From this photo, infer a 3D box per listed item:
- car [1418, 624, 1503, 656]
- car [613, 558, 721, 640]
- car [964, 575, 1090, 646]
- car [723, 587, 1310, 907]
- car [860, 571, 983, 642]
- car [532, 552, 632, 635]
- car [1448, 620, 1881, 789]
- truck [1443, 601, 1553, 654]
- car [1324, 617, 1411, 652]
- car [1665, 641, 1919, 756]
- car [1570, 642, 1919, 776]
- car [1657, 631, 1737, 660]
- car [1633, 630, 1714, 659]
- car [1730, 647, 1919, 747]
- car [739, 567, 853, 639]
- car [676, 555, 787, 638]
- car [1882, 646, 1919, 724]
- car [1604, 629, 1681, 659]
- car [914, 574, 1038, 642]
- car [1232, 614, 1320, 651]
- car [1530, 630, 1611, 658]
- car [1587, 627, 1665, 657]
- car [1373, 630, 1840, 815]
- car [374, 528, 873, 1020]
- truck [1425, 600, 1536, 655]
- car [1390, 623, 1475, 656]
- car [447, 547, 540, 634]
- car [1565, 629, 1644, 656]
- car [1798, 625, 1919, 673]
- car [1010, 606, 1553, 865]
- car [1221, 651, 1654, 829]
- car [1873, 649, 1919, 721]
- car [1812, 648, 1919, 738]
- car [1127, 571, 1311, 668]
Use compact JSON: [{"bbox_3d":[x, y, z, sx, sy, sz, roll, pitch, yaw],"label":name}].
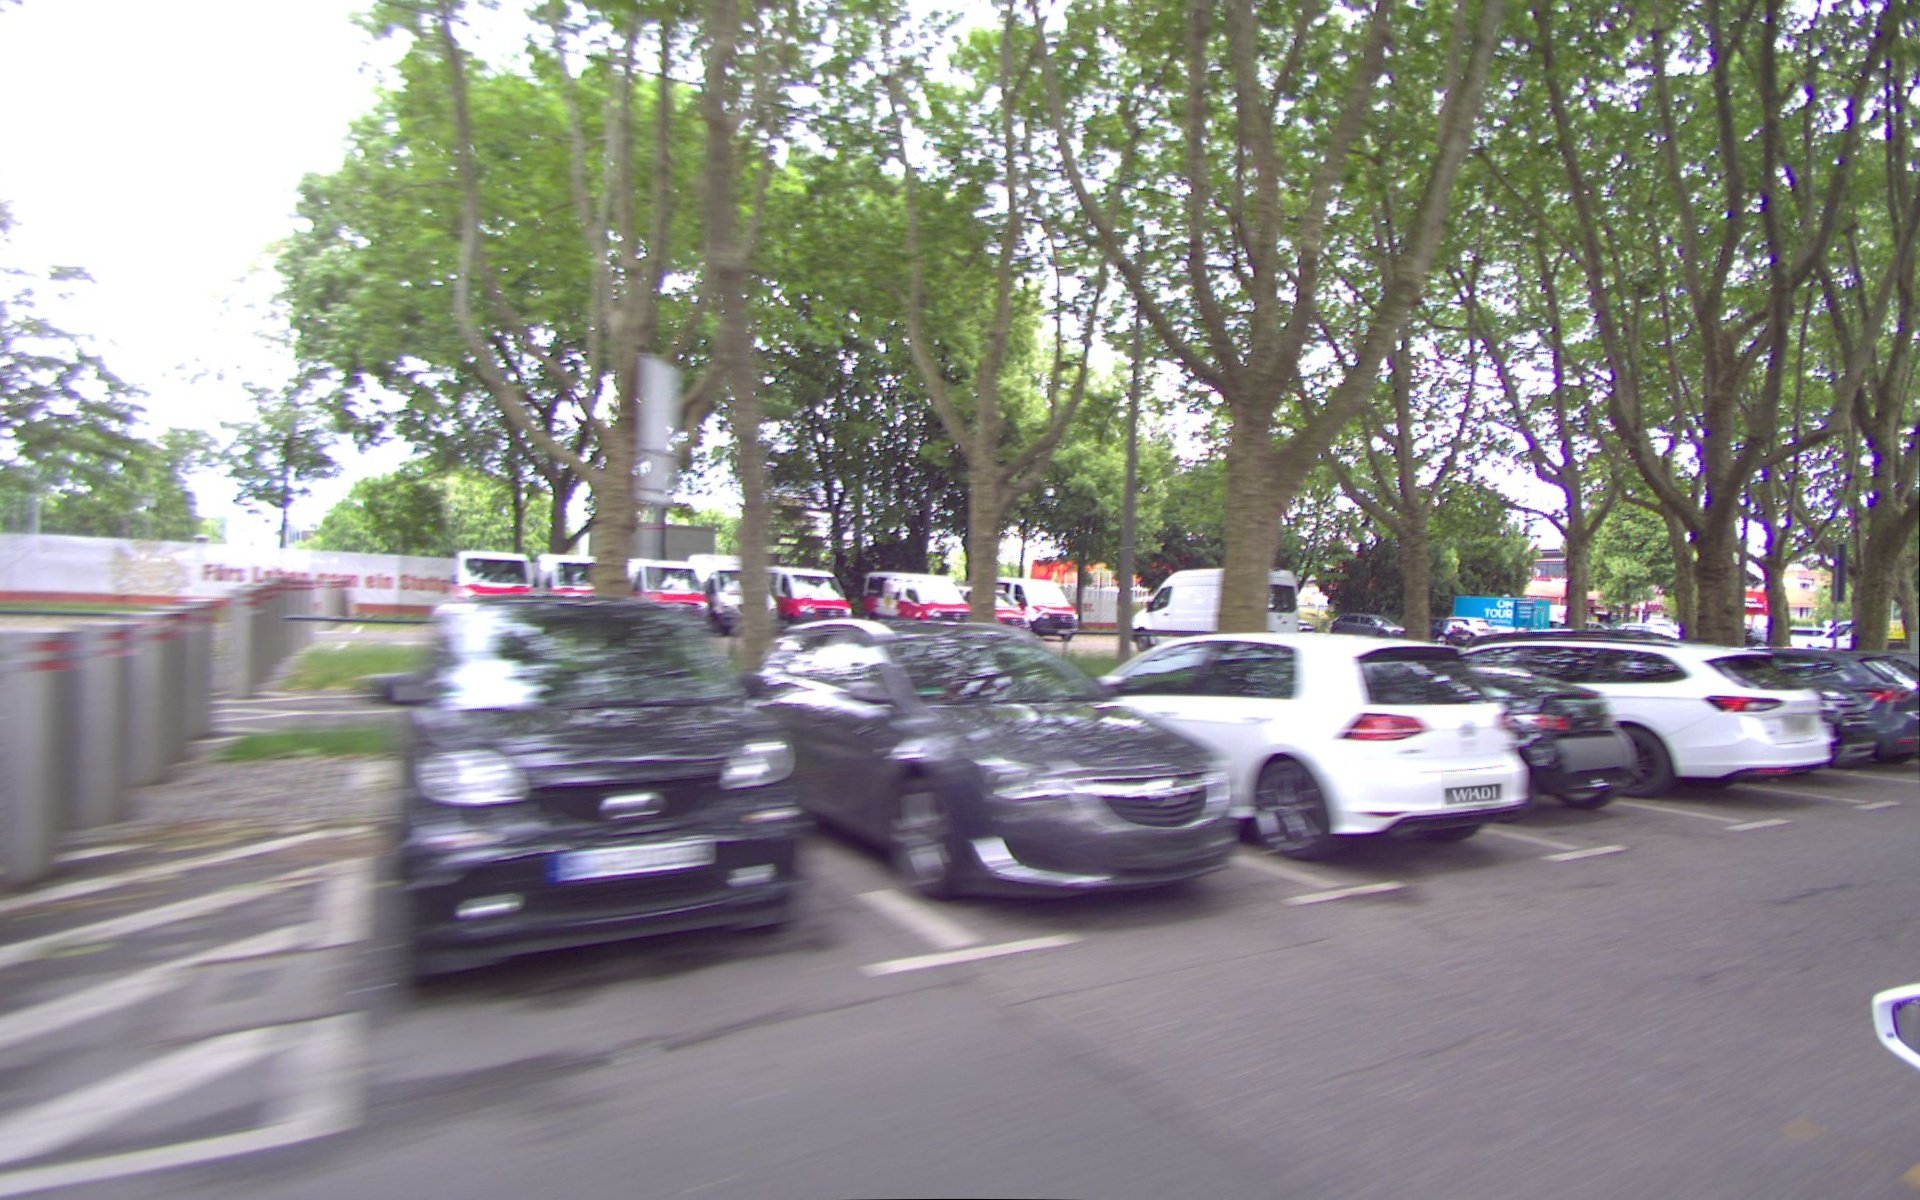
[{"bbox_3d":[26.907,2.135,54.094,1.693,1.506,3.782,2,1,-31],"label":"car"},{"bbox_3d":[-9.596,-0.100,32.461,1.976,2.349,5.973,2,1,-29],"label":"car"},{"bbox_3d":[2.549,0.358,40.138,1.976,2.560,5.973,2,1,-29],"label":"car"},{"bbox_3d":[-0.029,0.698,6.669,1.676,1.383,4.377,2,-2,-32],"label":"car"},{"bbox_3d":[-1.563,0.177,37.444,1.976,2.361,5.973,2,1,-29],"label":"car"},{"bbox_3d":[-11.858,-0.255,31.247,1.976,2.282,5.973,2,1,-29],"label":"car"},{"bbox_3d":[8.083,1.075,11.854,1.839,1.629,3.805,2,-2,-33],"label":"car"},{"bbox_3d":[31.023,1.554,58.094,2.180,2.778,5.212,2,1,-29],"label":"truck"},{"bbox_3d":[20.449,1.731,50.506,1.659,1.506,3.782,2,1,-31],"label":"car"},{"bbox_3d":[12.778,1.370,14.605,1.676,1.448,3.806,2,-2,-32],"label":"car"},{"bbox_3d":[10.650,1.335,13.525,1.781,1.448,3.808,2,-2,-31],"label":"car"},{"bbox_3d":[48.599,2.999,66.324,1.669,1.611,3.980,2,1,-21],"label":"car"},{"bbox_3d":[46.128,2.855,65.046,1.669,1.611,3.980,2,1,-21],"label":"car"},{"bbox_3d":[14.969,1.533,16.144,1.672,1.448,3.815,2,-2,-25],"label":"car"},{"bbox_3d":[-5.878,0.044,35.245,1.976,2.270,5.973,2,1,-29],"label":"car"},{"bbox_3d":[-7.929,-0.178,34.351,1.976,2.560,5.973,2,1,-29],"label":"car"},{"bbox_3d":[19.440,1.625,18.167,1.676,1.448,3.806,3,-3,-32],"label":"car"},{"bbox_3d":[43.380,2.787,63.908,1.519,1.611,3.734,2,1,-32],"label":"car"},{"bbox_3d":[0.486,0.241,38.667,1.976,2.336,5.973,2,1,-29],"label":"car"},{"bbox_3d":[14.717,1.488,46.939,1.659,1.506,3.782,2,1,-31],"label":"car"},{"bbox_3d":[35.417,2.541,58.341,1.518,1.367,3.736,2,1,-31],"label":"car"},{"bbox_3d":[41.368,2.575,62.442,1.519,1.611,3.734,2,1,-32],"label":"car"},{"bbox_3d":[6.538,1.112,10.566,1.676,1.517,3.806,2,-2,-32],"label":"car"},{"bbox_3d":[-2.095,0.633,5.409,1.676,1.629,3.806,2,-2,-32],"label":"car"},{"bbox_3d":[29.021,1.471,56.184,1.905,2.778,5.288,2,1,-29],"label":"truck"},{"bbox_3d":[24.914,2.054,53.094,1.659,1.506,3.782,2,1,-31],"label":"car"},{"bbox_3d":[-13.983,-0.321,29.911,1.976,2.282,5.973,2,1,-29],"label":"car"},{"bbox_3d":[39.317,2.567,61.331,1.519,1.367,3.734,2,1,-32],"label":"car"},{"bbox_3d":[49.659,2.661,55.354,1.518,2.262,5.051,2,1,-31],"label":"car"},{"bbox_3d":[2.162,0.819,7.718,1.676,1.448,3.806,2,-2,-32],"label":"car"},{"bbox_3d":[4.200,1.134,9.259,1.568,1.218,3.296,2,-2,-33],"label":"car"},{"bbox_3d":[21.071,1.756,19.725,1.674,1.448,4.383,2,-2,-28],"label":"car"},{"bbox_3d":[16.823,1.574,16.526,1.676,1.448,3.999,2,-2,-32],"label":"car"},{"bbox_3d":[7.736,0.495,30.709,1.976,2.632,5.760,2,1,-29],"label":"car"}]
